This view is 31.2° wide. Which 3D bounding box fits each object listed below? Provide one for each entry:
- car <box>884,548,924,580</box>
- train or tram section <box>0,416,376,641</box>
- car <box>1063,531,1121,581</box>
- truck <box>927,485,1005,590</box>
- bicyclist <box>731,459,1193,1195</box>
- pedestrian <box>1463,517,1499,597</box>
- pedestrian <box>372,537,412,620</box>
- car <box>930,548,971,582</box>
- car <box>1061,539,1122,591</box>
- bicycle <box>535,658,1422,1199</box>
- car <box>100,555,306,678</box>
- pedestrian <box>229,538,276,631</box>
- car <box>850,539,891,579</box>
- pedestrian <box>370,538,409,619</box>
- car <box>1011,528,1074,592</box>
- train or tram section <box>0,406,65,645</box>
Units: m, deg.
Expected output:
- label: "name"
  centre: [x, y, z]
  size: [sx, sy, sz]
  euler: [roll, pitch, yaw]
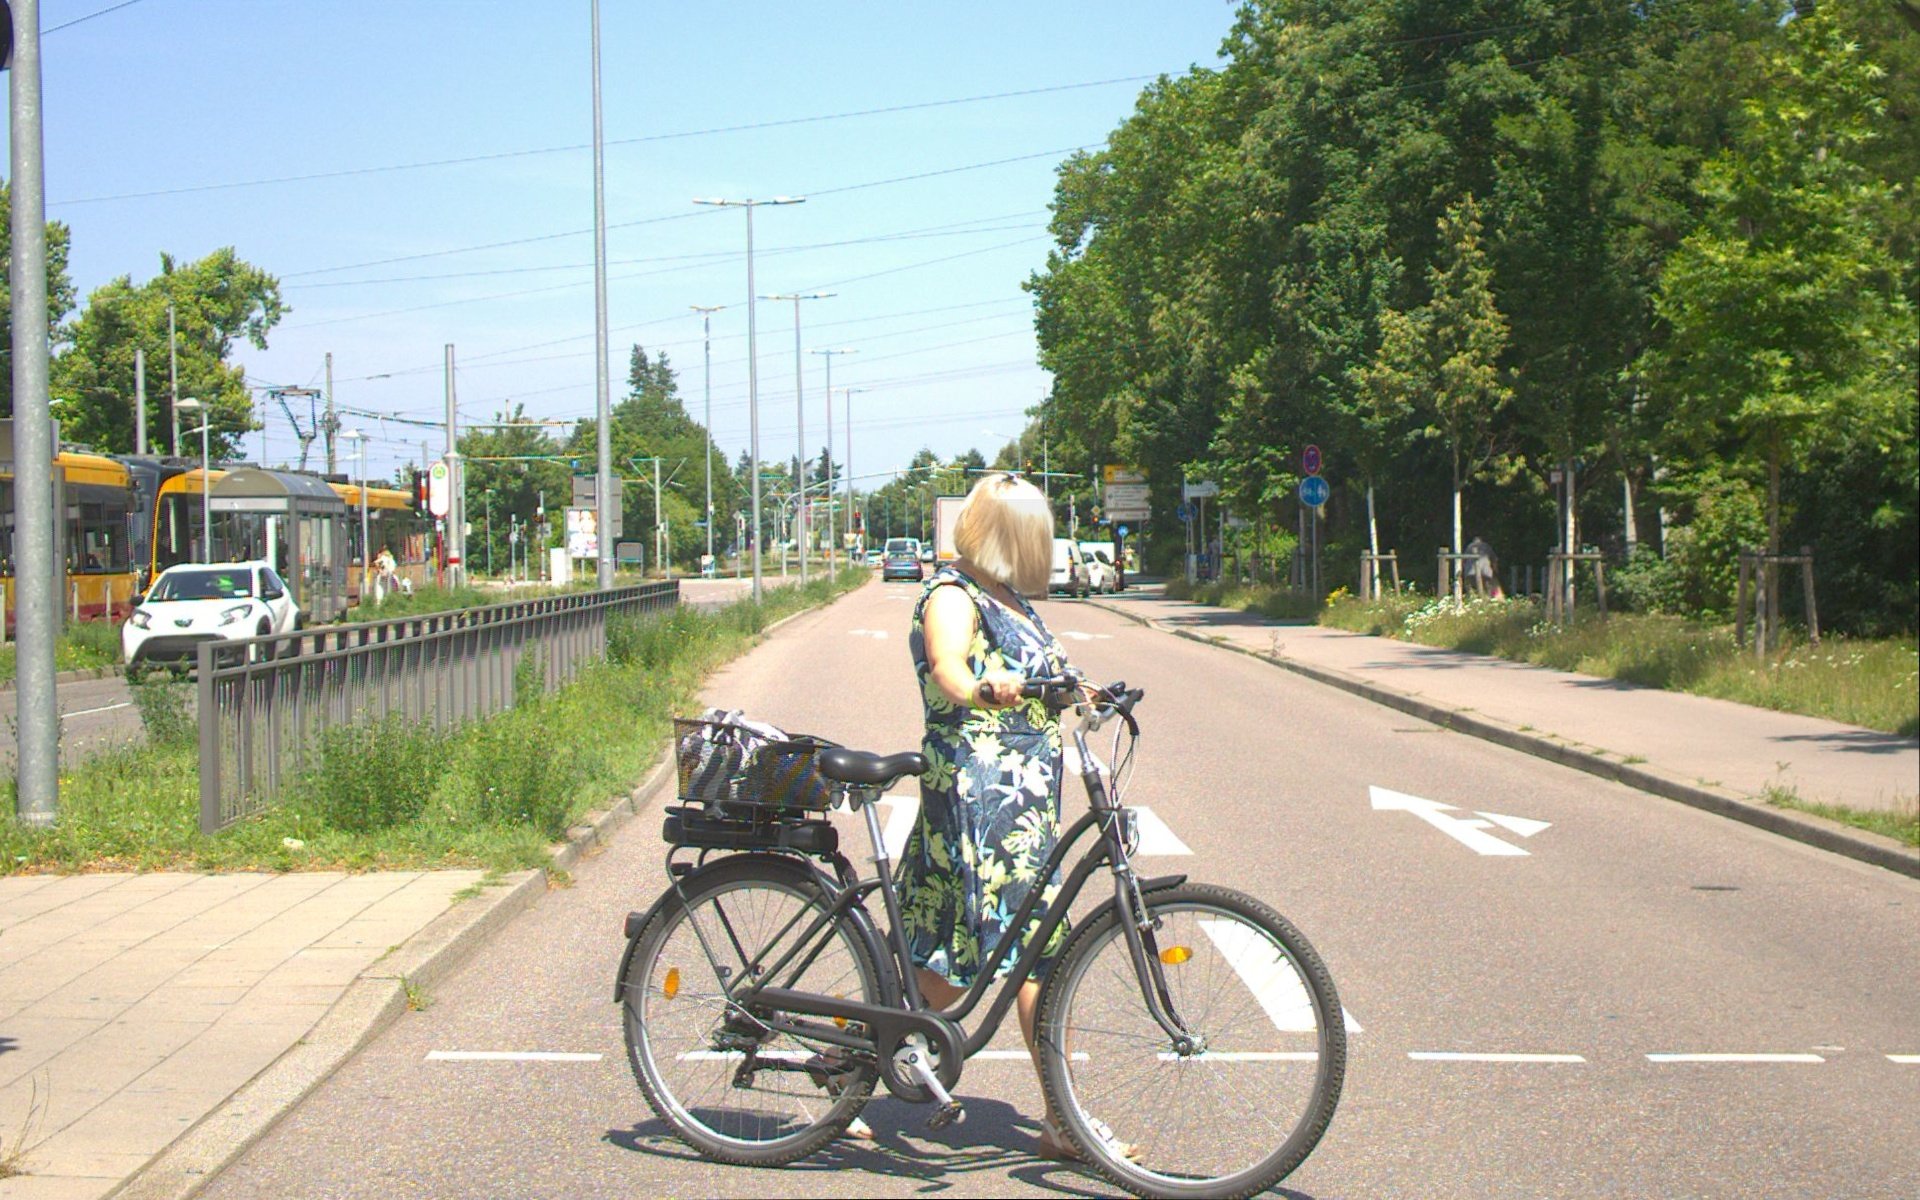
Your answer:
- label: "car"
  centre: [-2.559, -1.655, 157.301]
  size: [1.811, 1.459, 4.000]
  euler: [0, 1, -1]
- label: "train or tram section"
  centre: [-16.735, -1.487, 74.248]
  size: [2.931, 3.776, 33.090]
  euler: [0, 1, -1]
- label: "car"
  centre: [4.547, -1.536, 118.795]
  size: [1.779, 1.663, 4.000]
  euler: [0, 1, -1]
- label: "truck"
  centre: [0.213, -2.659, 146.116]
  size: [3.205, 4.344, 6.561]
  euler: [0, 1, -1]
- label: "bicyclist"
  centre: [0.010, 0.501, 8.218]
  size: [0.958, 1.661, 0.580]
  euler: [1, 3, 18]
- label: "pedestrian"
  centre: [9.383, -0.783, 61.949]
  size: [0.604, 1.433, 0.556]
  euler: [0, 1, 6]
- label: "pedestrian"
  centre: [-13.819, -0.520, 83.662]
  size: [0.815, 2.007, 0.938]
  euler: [0, 1, -1]
- label: "car"
  centre: [-0.432, -1.584, 153.624]
  size: [1.811, 1.459, 4.000]
  euler: [0, 1, -1]
- label: "car"
  centre: [4.297, -1.171, 112.452]
  size: [1.779, 1.663, 4.000]
  euler: [0, 1, -1]
- label: "bicycle"
  centre: [0.034, 0.757, 7.921]
  size: [1.959, 1.157, 0.541]
  euler: [1, 3, 18]
- label: "car"
  centre: [-9.681, 0.181, 44.229]
  size: [1.845, 1.489, 3.791]
  euler: [0, 1, -1]
- label: "pedestrian"
  centre: [-14.260, -0.311, 69.310]
  size: [0.785, 1.862, 0.817]
  euler: [0, 1, -1]
- label: "car"
  centre: [-4.551, -2.106, 175.172]
  size: [1.993, 2.007, 4.000]
  euler: [0, 1, -1]
- label: "pedestrian"
  centre: [-14.097, -0.537, 84.956]
  size: [0.815, 2.007, 0.938]
  euler: [0, 1, -1]
- label: "car"
  centre: [2.506, -1.242, 105.677]
  size: [1.779, 1.897, 4.000]
  euler: [0, 1, -1]
- label: "train or tram section"
  centre: [-16.376, -0.957, 42.720]
  size: [2.957, 3.736, 30.035]
  euler: [0, 1, -1]
